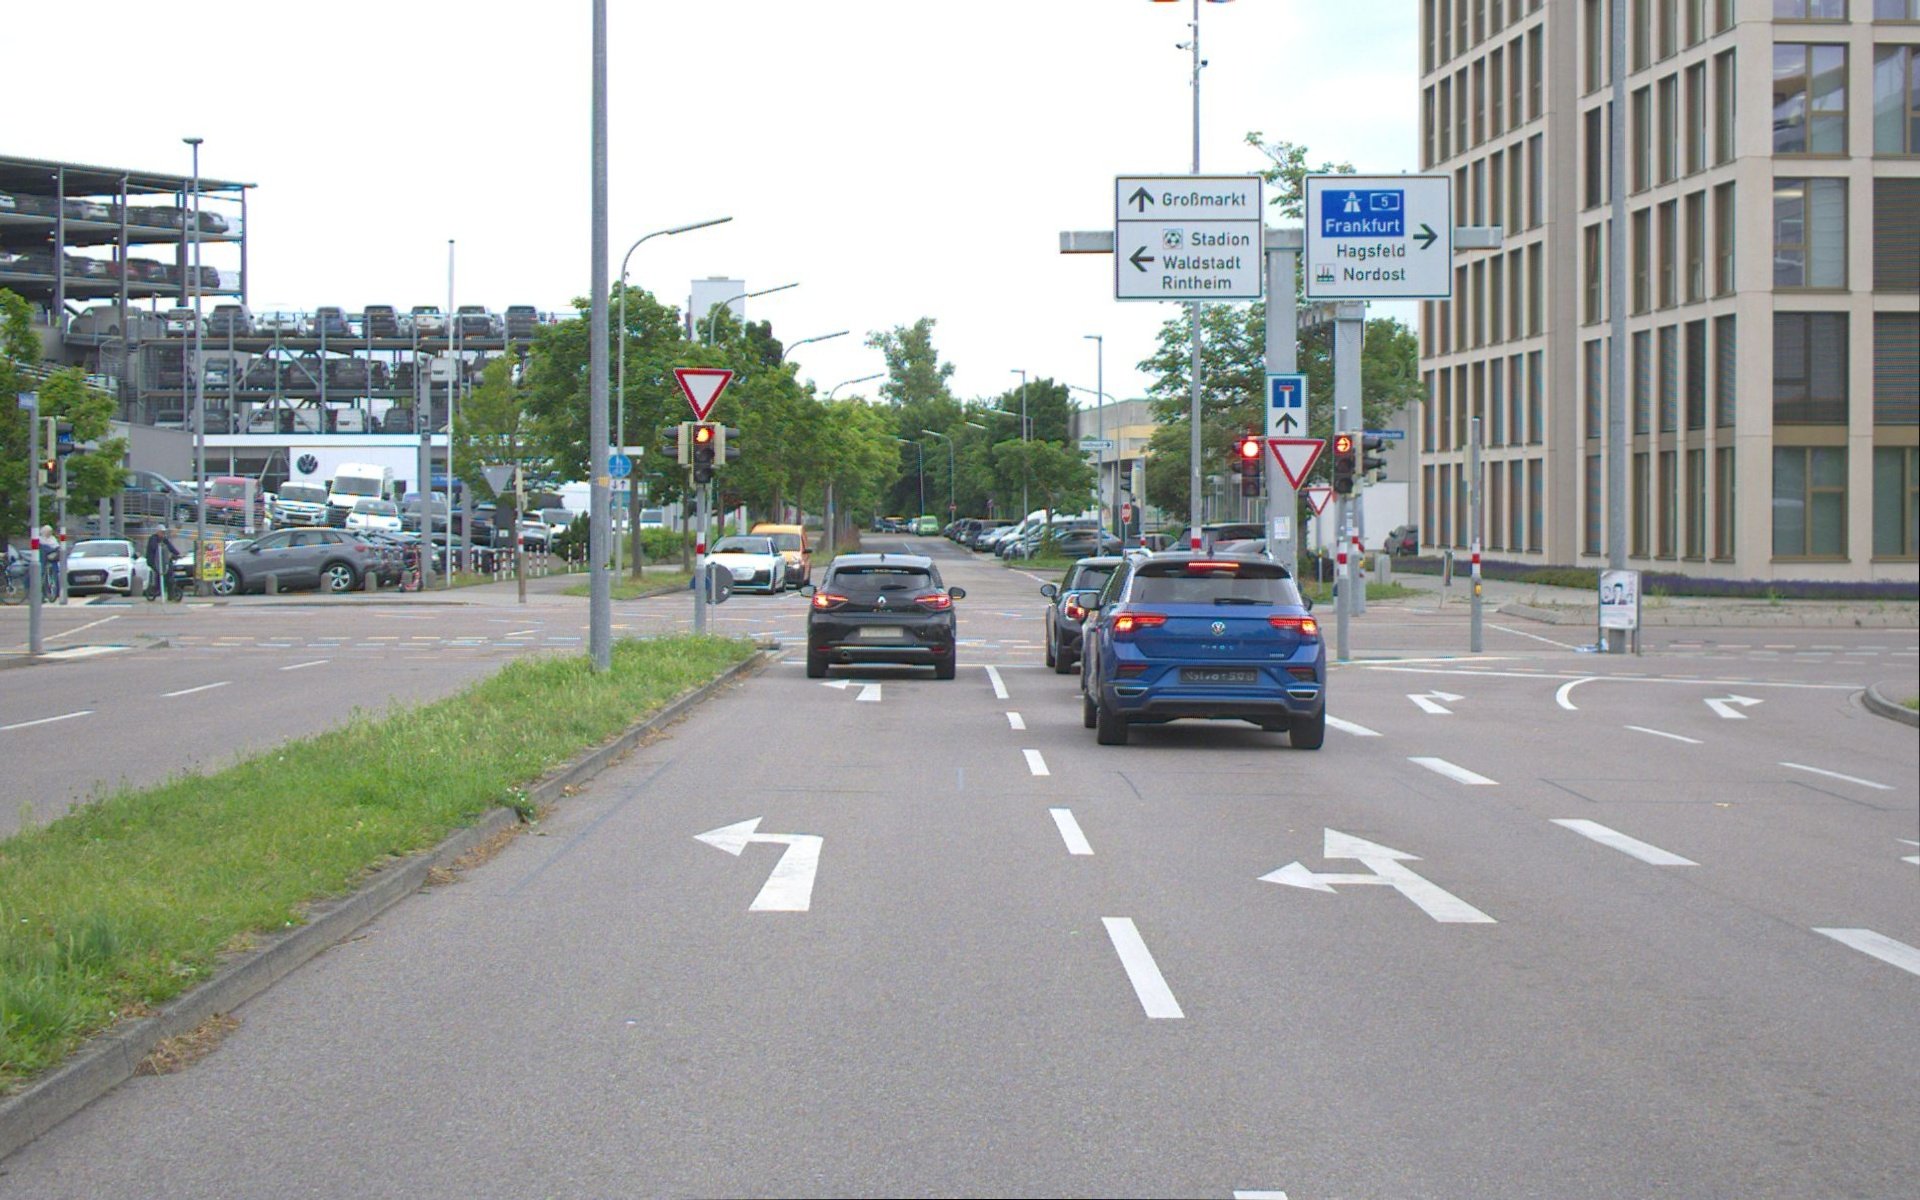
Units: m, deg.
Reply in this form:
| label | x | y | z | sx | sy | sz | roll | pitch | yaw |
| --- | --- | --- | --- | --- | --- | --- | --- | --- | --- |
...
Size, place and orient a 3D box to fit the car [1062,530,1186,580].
| label | x | y | z | sx | sy | sz | roll | pitch | yaw |
| --- | --- | --- | --- | --- | --- | --- | --- | --- | --- |
| car | 5.254 | -1.434 | 109.951 | 3.606 | 1.473 | 1.759 | 1 | 3 | 18 |

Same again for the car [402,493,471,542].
| label | x | y | z | sx | sy | sz | roll | pitch | yaw |
| --- | --- | --- | --- | --- | --- | --- | --- | --- | --- |
| car | -19.515 | -3.107 | 128.265 | 1.776 | 1.700 | 3.916 | 1 | 3 | 4 |

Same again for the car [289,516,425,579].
| label | x | y | z | sx | sy | sz | roll | pitch | yaw |
| --- | --- | --- | --- | --- | --- | --- | --- | --- | --- |
| car | -16.645 | -1.462 | 95.053 | 3.604 | 1.662 | 1.549 | 0 | 3 | -6 |

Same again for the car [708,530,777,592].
| label | x | y | z | sx | sy | sz | roll | pitch | yaw |
| --- | --- | --- | --- | --- | --- | --- | --- | --- | --- |
| car | -5.572 | -1.020 | 88.382 | 1.600 | 1.448 | 3.325 | 0 | 3 | -1 |

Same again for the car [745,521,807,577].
| label | x | y | z | sx | sy | sz | roll | pitch | yaw |
| --- | --- | --- | --- | --- | --- | --- | --- | --- | --- |
| car | -5.151 | -1.439 | 96.526 | 1.600 | 1.448 | 3.325 | 0 | 3 | -1 |

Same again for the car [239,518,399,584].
| label | x | y | z | sx | sy | sz | roll | pitch | yaw |
| --- | --- | --- | --- | --- | --- | --- | --- | --- | --- |
| car | -16.161 | -1.248 | 86.801 | 3.822 | 1.584 | 1.683 | 0 | 3 | -6 |

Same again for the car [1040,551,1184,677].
| label | x | y | z | sx | sy | sz | roll | pitch | yaw |
| --- | --- | --- | --- | --- | --- | --- | --- | --- | --- |
| car | 1.860 | 0.145 | 42.837 | 1.524 | 1.427 | 3.391 | 1 | 2 | -2 |

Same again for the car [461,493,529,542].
| label | x | y | z | sx | sy | sz | roll | pitch | yaw |
| --- | --- | --- | --- | --- | --- | --- | --- | --- | --- |
| car | -17.326 | -3.095 | 128.341 | 1.776 | 1.700 | 3.916 | 1 | 3 | 4 |

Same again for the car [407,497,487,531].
| label | x | y | z | sx | sy | sz | roll | pitch | yaw |
| --- | --- | --- | --- | --- | --- | --- | --- | --- | --- |
| car | -23.819 | -4.015 | 159.575 | 3.661 | 1.523 | 1.615 | 0 | 3 | -8 |

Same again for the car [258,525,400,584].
| label | x | y | z | sx | sy | sz | roll | pitch | yaw |
| --- | --- | --- | --- | --- | --- | --- | --- | --- | --- |
| car | -16.738 | -1.215 | 91.338 | 3.604 | 1.471 | 1.549 | 0 | 3 | -6 |

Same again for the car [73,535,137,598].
| label | x | y | z | sx | sy | sz | roll | pitch | yaw |
| --- | --- | --- | --- | --- | --- | --- | --- | --- | --- |
| car | -19.756 | -0.793 | 79.396 | 1.370 | 1.321 | 3.035 | 0 | 3 | -15 |

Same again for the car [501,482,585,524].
| label | x | y | z | sx | sy | sz | roll | pitch | yaw |
| --- | --- | --- | --- | --- | --- | --- | --- | --- | --- |
| car | -16.781 | -3.915 | 138.379 | 3.295 | 1.635 | 1.480 | 0 | 3 | -4 |

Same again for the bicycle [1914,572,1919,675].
| label | x | y | z | sx | sy | sz | roll | pitch | yaw |
| --- | --- | --- | --- | --- | --- | --- | --- | --- | --- |
| bicycle | 12.946 | 0.313 | 42.664 | 2.009 | 1.291 | 0.700 | 2 | 2 | 41 |

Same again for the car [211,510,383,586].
| label | x | y | z | sx | sy | sz | roll | pitch | yaw |
| --- | --- | --- | --- | --- | --- | --- | --- | --- | --- |
| car | -16.255 | -1.273 | 84.385 | 3.986 | 1.784 | 1.848 | 0 | 3 | -6 |

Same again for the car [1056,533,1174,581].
| label | x | y | z | sx | sy | sz | roll | pitch | yaw |
| --- | --- | --- | --- | --- | --- | --- | --- | --- | --- |
| car | 5.216 | -1.450 | 115.893 | 3.607 | 1.473 | 1.758 | 1 | 3 | 19 |

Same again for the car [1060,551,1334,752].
| label | x | y | z | sx | sy | sz | roll | pitch | yaw |
| --- | --- | --- | --- | --- | --- | --- | --- | --- | --- |
| car | 1.867 | 0.365 | 28.177 | 1.834 | 1.509 | 4.000 | 1 | 1 | -2 |

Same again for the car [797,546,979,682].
| label | x | y | z | sx | sy | sz | roll | pitch | yaw |
| --- | --- | --- | --- | --- | --- | --- | --- | --- | --- |
| car | -0.908 | 0.127 | 40.668 | 1.987 | 1.423 | 4.242 | 0 | 2 | -3 |
